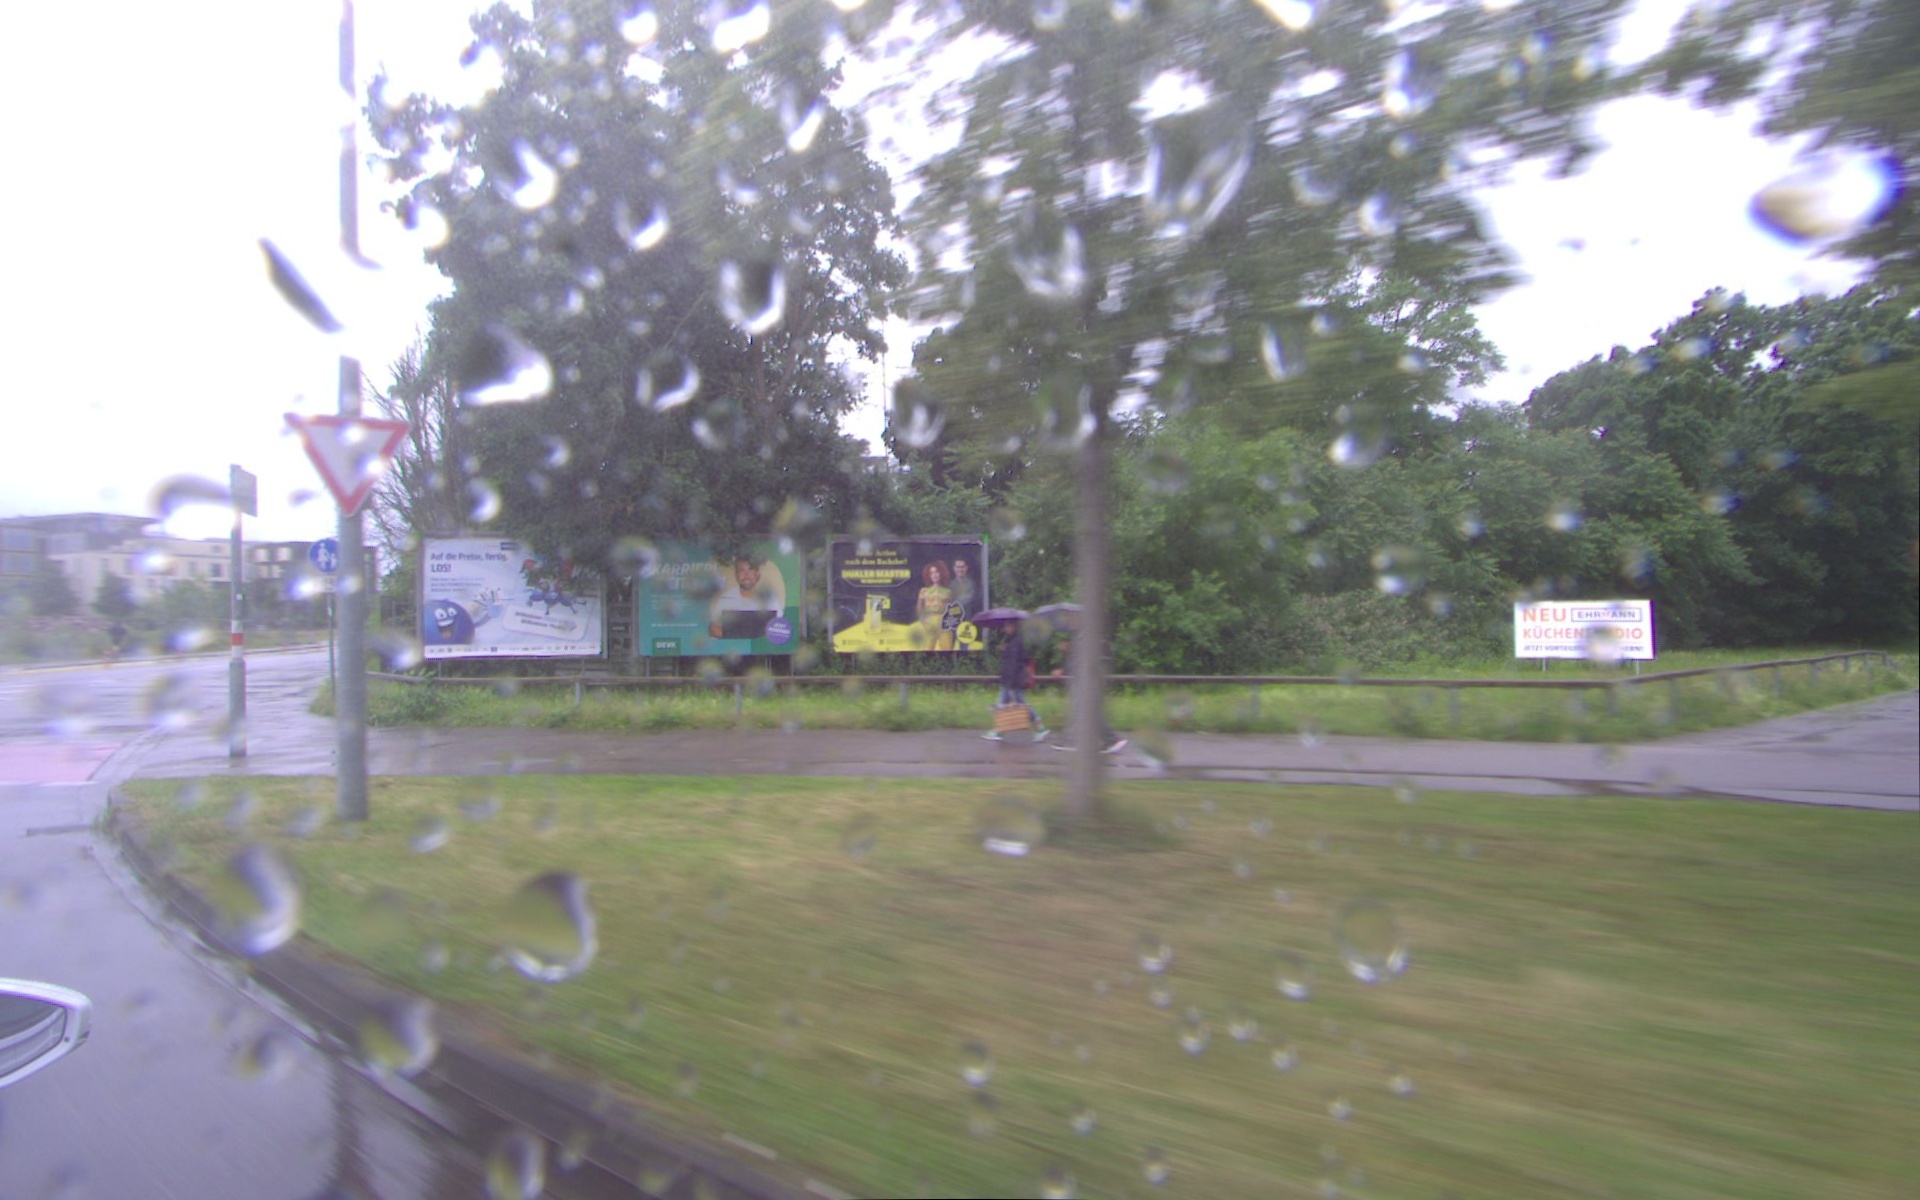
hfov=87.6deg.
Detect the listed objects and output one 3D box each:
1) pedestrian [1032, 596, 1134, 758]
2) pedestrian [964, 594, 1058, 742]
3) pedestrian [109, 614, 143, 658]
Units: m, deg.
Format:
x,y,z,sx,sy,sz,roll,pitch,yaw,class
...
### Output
x,y,z,sx,sy,sz,roll,pitch,yaw,class
1.451,0.898,11.802,0.798,1.806,0.918,-3,-3,38,pedestrian
0.656,0.864,12.791,0.798,1.806,0.918,-3,-3,38,pedestrian
-39.732,1.708,47.720,0.833,2.038,1.131,0,-3,-16,pedestrian
